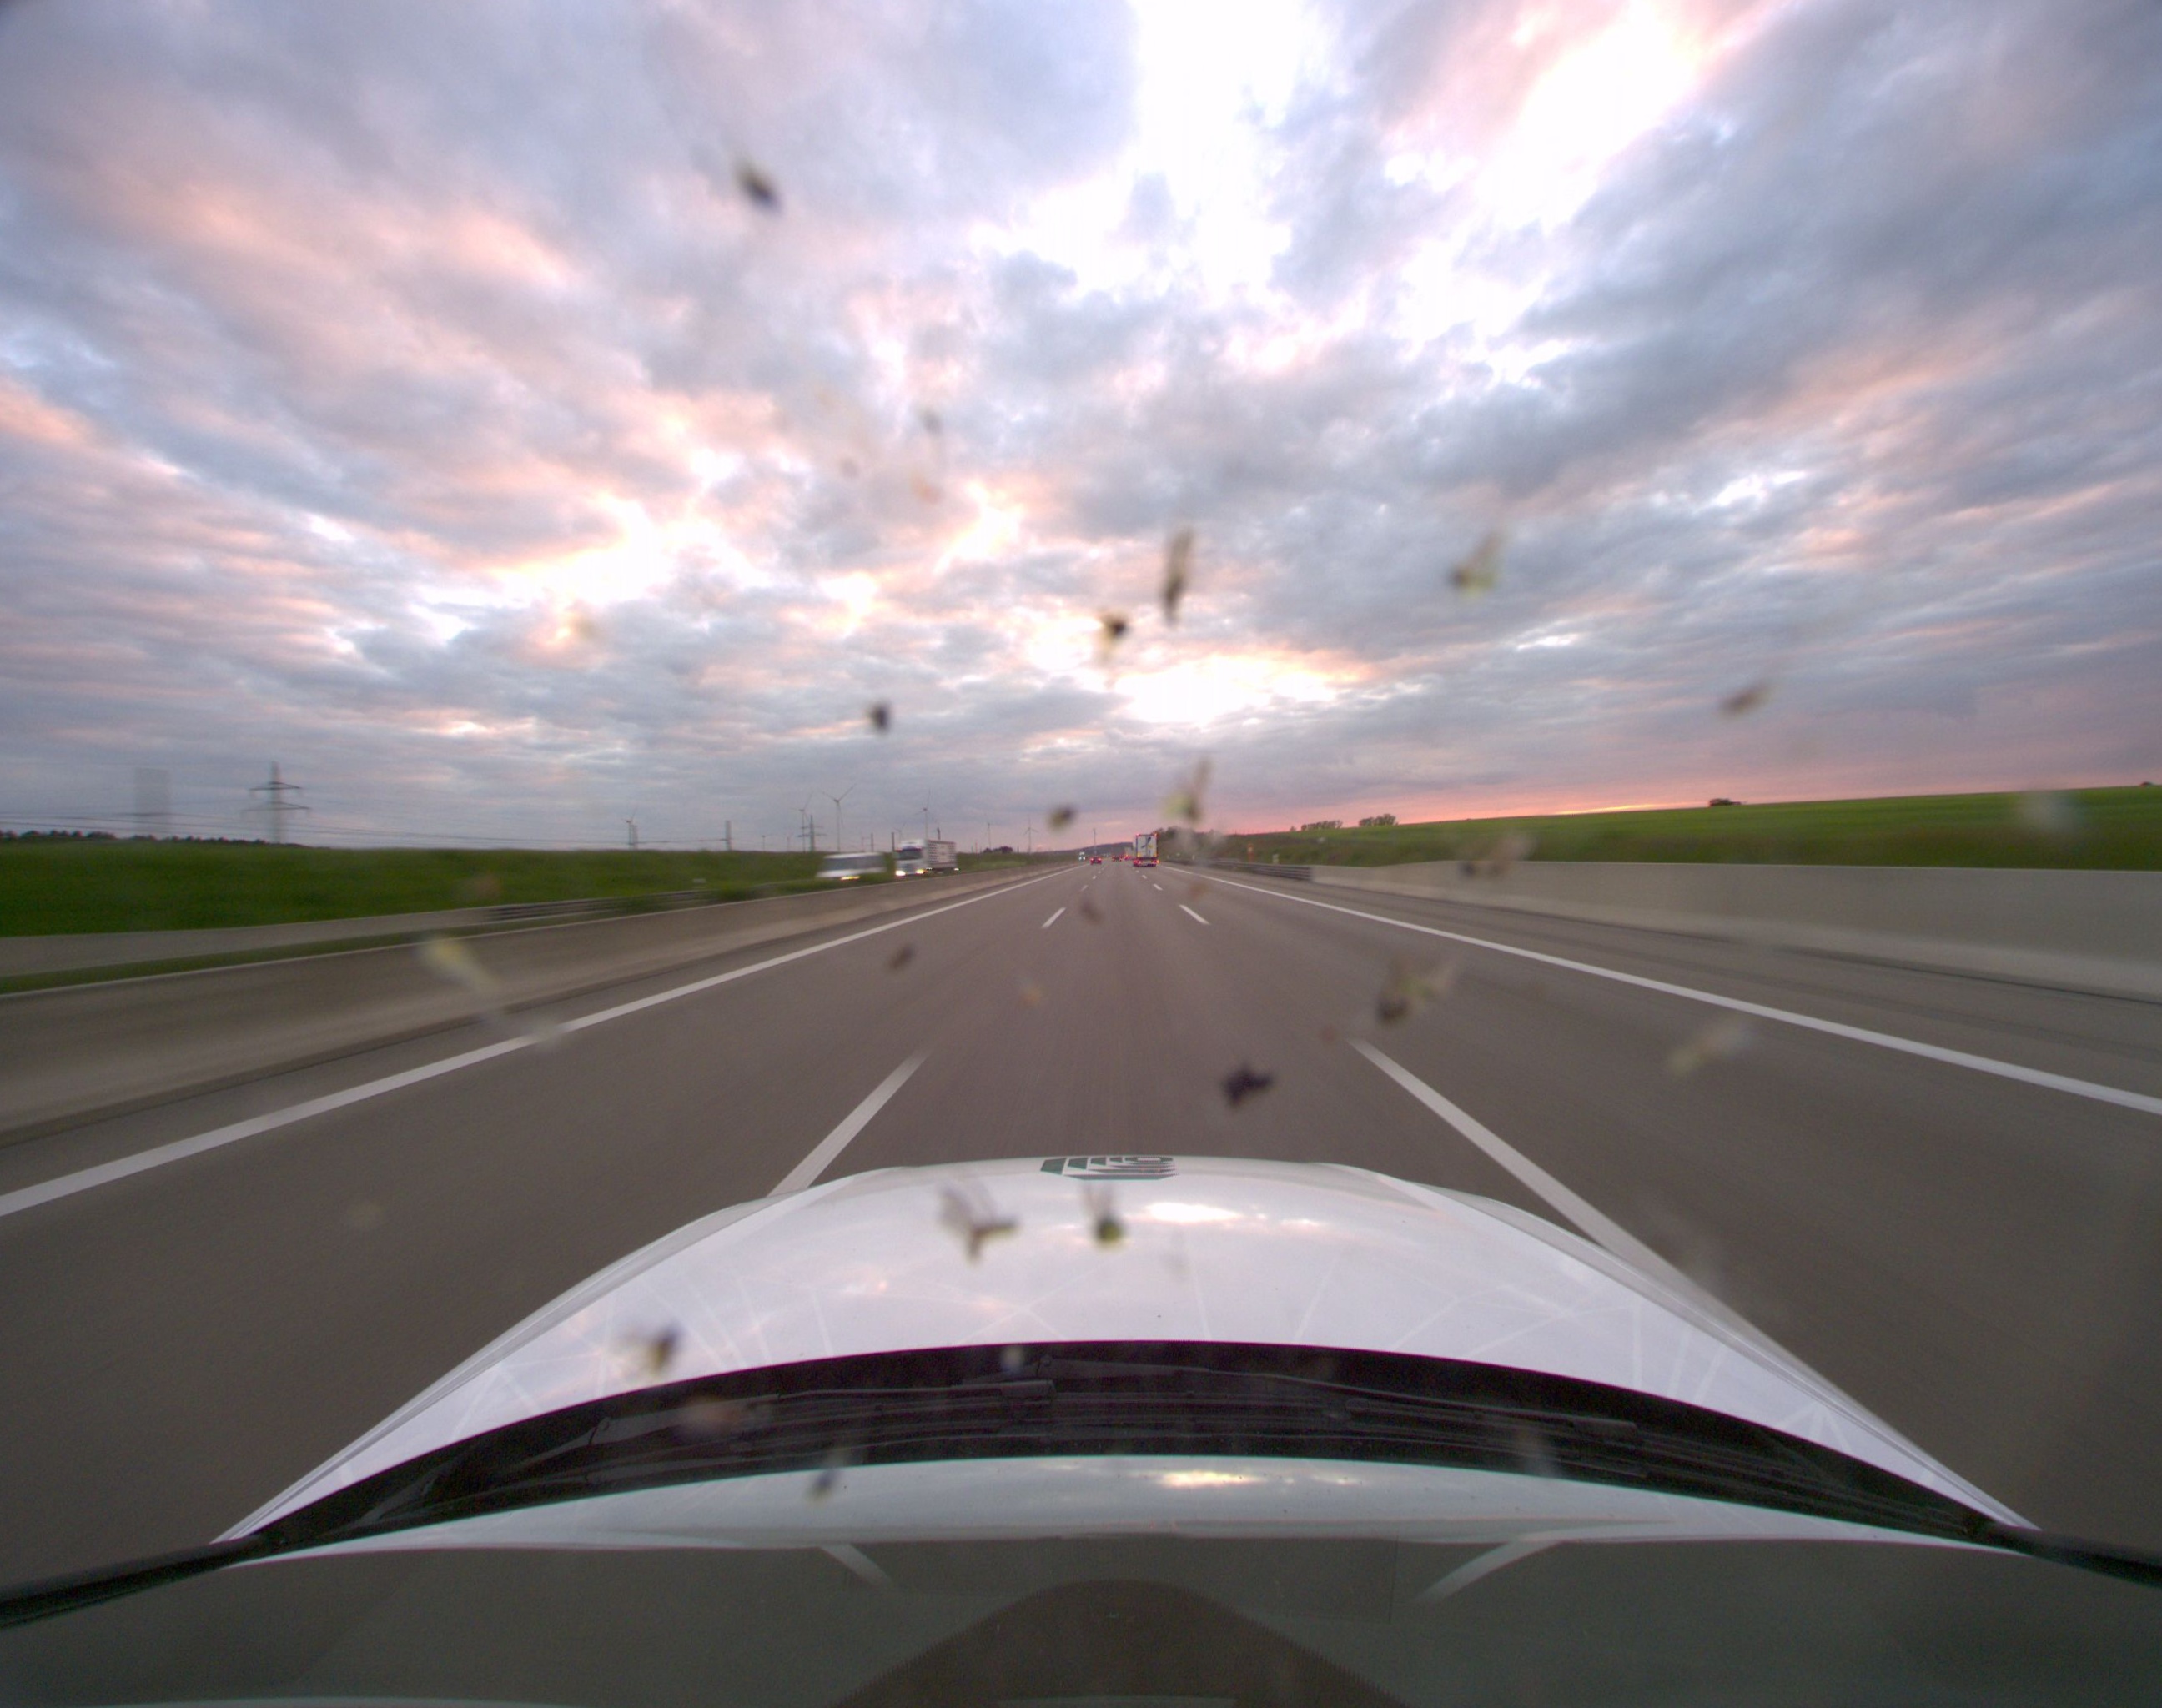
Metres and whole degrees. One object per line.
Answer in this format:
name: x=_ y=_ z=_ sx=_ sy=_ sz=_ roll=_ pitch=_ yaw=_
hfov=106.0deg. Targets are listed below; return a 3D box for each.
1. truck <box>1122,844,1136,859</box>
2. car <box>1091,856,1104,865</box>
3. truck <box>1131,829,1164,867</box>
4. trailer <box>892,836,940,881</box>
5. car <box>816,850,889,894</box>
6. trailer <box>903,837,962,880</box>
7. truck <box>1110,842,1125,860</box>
truck: x=14.605 y=-0.708 z=250.764 sx=3.951 sy=4.414 sz=8.640 roll=-3 pitch=0 yaw=2
car: x=2.846 y=1.058 z=139.708 sx=1.979 sy=1.429 sz=4.003 roll=-3 pitch=0 yaw=3
truck: x=8.449 y=-0.749 z=104.934 sx=3.661 sy=4.564 sz=10.987 roll=-2 pitch=0 yaw=2
trailer: x=-16.248 y=0.407 z=80.594 sx=2.675 sy=4.114 sz=6.944 roll=-4 pitch=0 yaw=3
car: x=-13.460 y=0.995 z=48.413 sx=2.119 sy=2.344 sz=6.496 roll=-3 pitch=0 yaw=2
trailer: x=-15.830 y=0.454 z=88.452 sx=2.675 sy=4.114 sz=15.120 roll=-4 pitch=0 yaw=3
truck: x=9.674 y=-0.857 z=215.431 sx=3.633 sy=4.414 sz=8.640 roll=-3 pitch=0 yaw=2
